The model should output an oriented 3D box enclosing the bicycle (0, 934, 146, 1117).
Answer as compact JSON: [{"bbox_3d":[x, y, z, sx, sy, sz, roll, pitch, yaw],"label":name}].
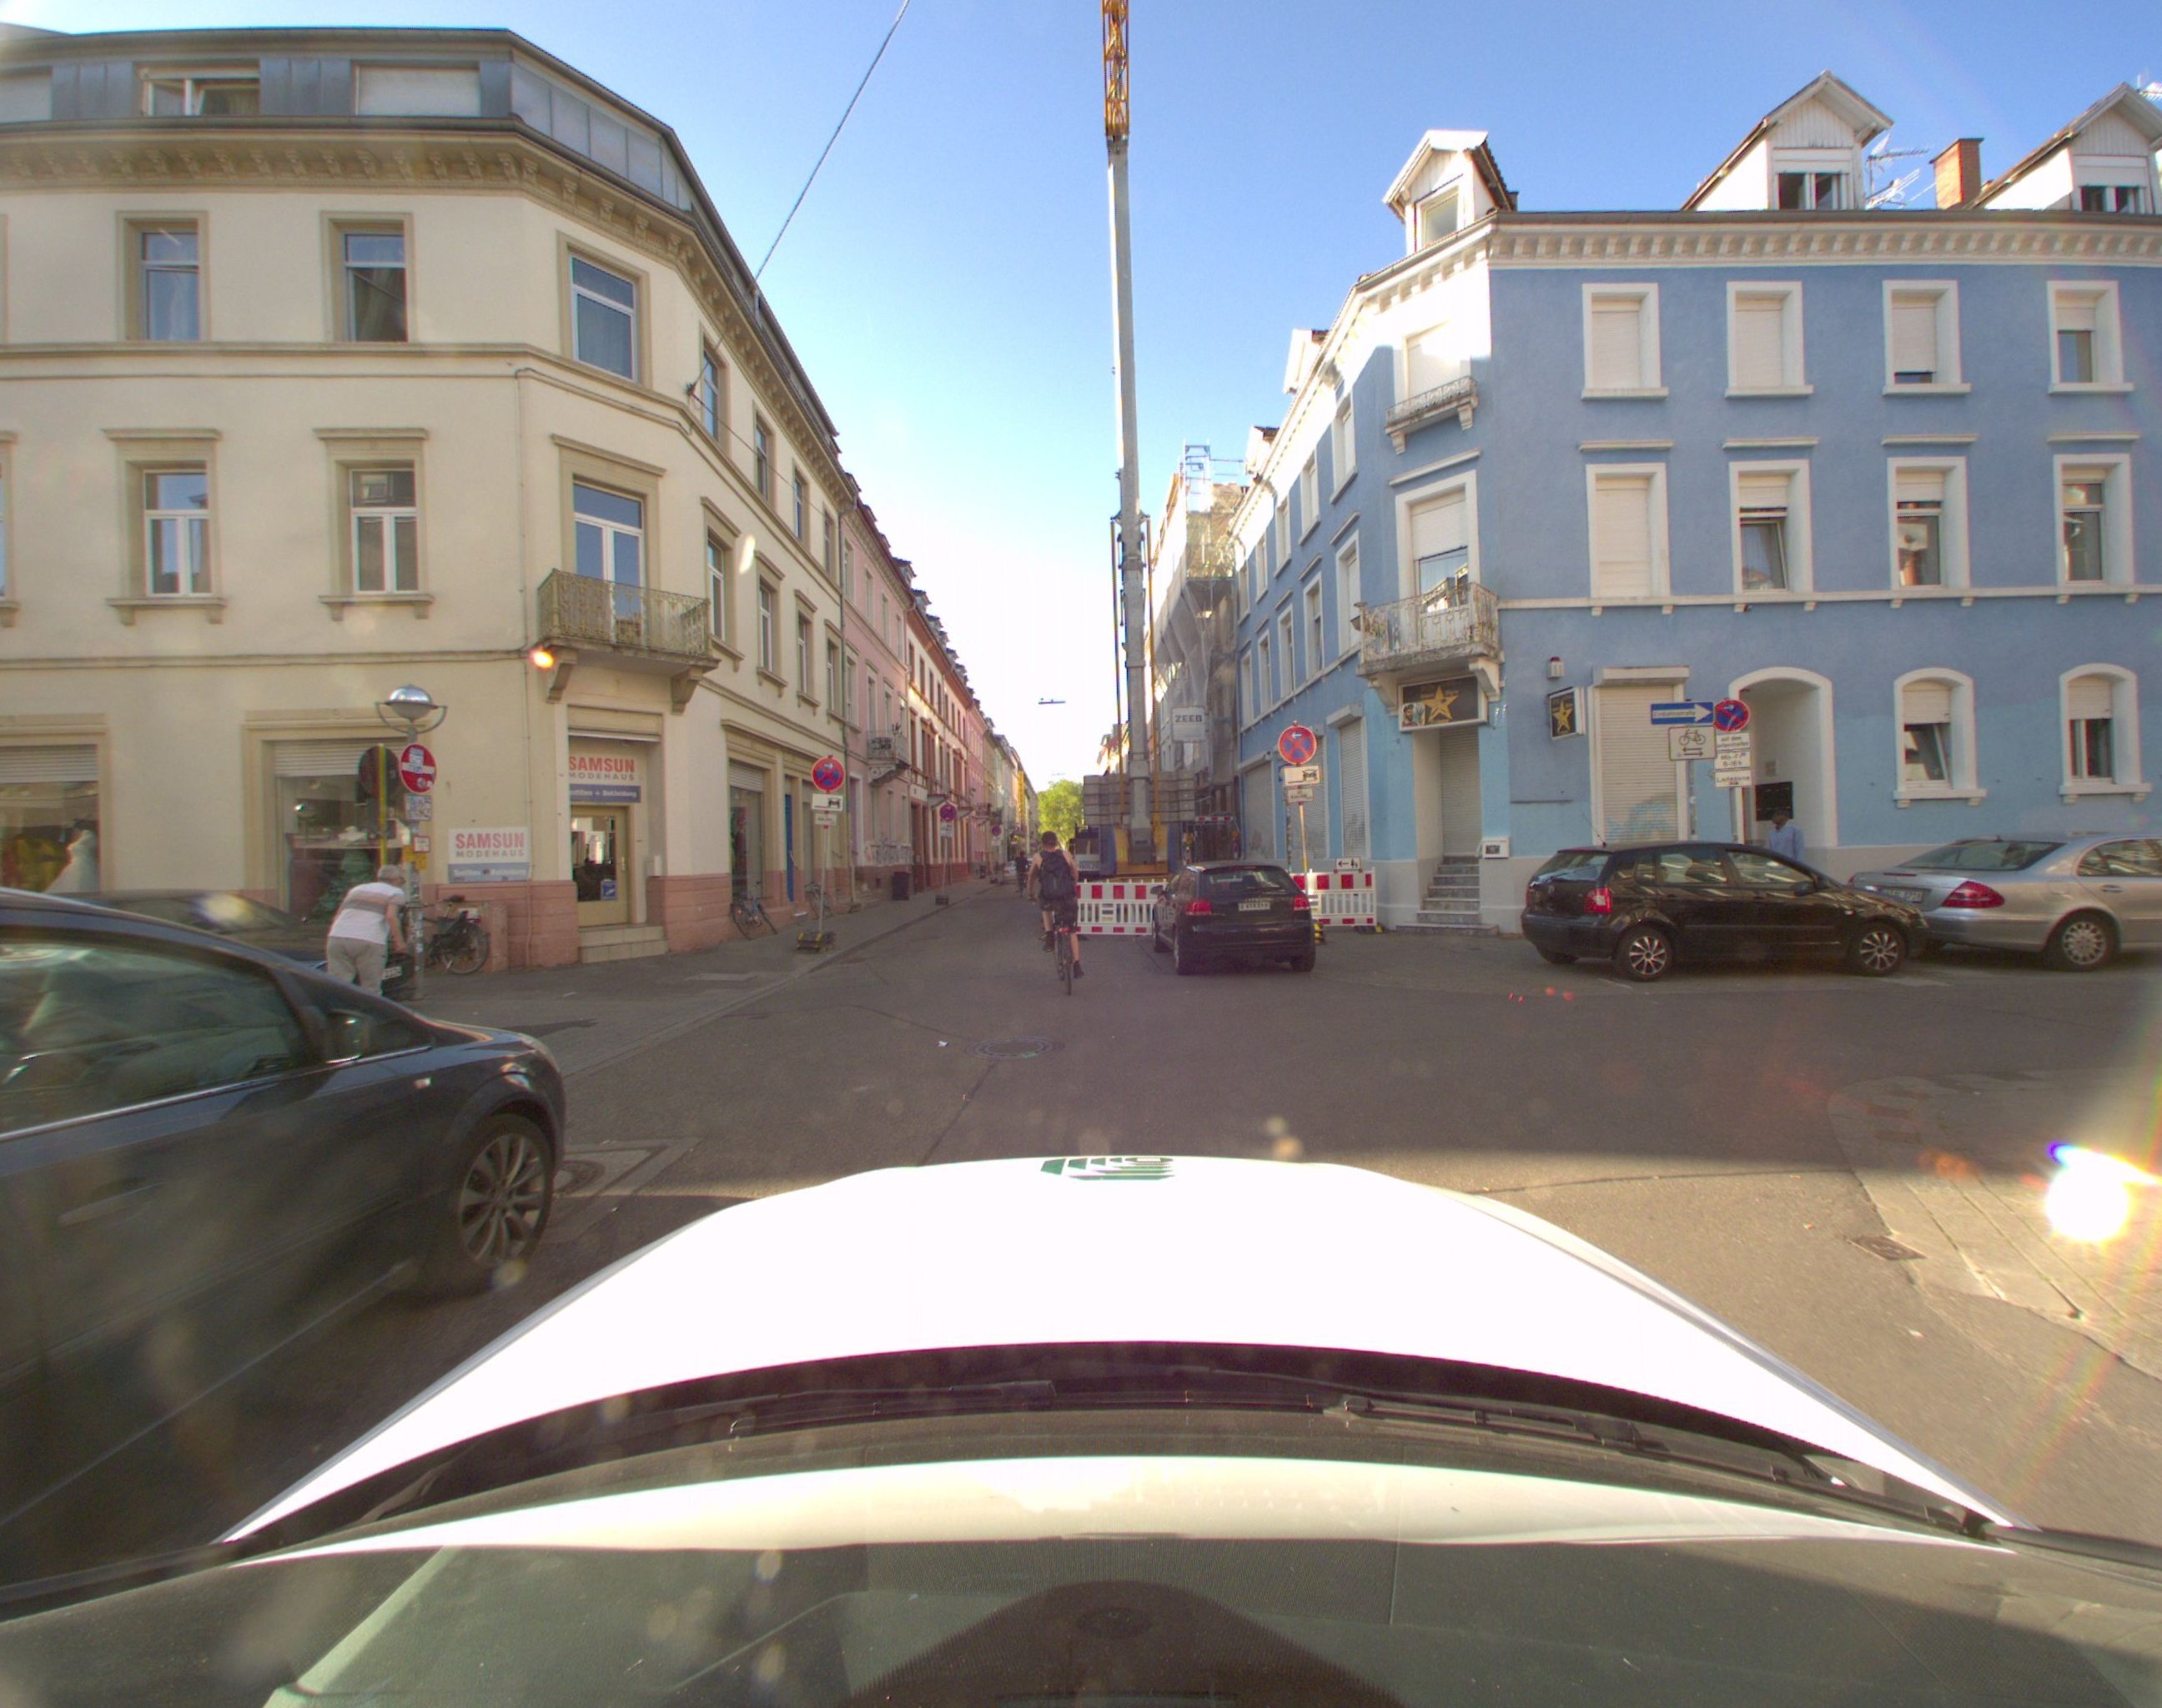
[{"bbox_3d":[-7.780,1.178,5.405,1.935,1.111,0.705,-2,0,-21],"label":"bicycle"}]

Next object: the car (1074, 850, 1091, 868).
[{"bbox_3d":[0.193,0.770,126.872,2.301,2.538,6.765,-4,-1,-1],"label":"car"}]

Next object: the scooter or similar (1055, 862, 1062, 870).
[{"bbox_3d":[-2.647,1.414,95.245,0.769,0.873,0.770,-1,-1,-3],"label":"scooter or similar"}]

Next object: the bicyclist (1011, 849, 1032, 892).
[{"bbox_3d":[-2.307,0.643,31.675,0.700,1.605,0.812,-3,1,-2],"label":"bicyclist"}]

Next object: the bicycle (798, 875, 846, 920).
[{"bbox_3d":[-6.435,1.056,20.324,0.620,1.022,1.817,-1,0,-1],"label":"bicycle"}]

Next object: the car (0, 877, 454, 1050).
[{"bbox_3d":[-9.245,1.044,8.344,4.131,1.455,1.757,-1,0,-4],"label":"car"}]

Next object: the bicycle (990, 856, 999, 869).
[{"bbox_3d":[-7.377,0.736,69.654,0.591,1.089,2.078,-1,-1,-1],"label":"bicycle"}]

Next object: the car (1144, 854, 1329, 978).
[{"bbox_3d":[2.004,0.739,11.698,1.767,1.434,4.031,-1,0,-2],"label":"car"}]

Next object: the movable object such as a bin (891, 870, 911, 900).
[{"bbox_3d":[-6.407,1.103,29.014,0.604,1.035,0.596,-1,-1,-3],"label":"movable object such as a bin"}]

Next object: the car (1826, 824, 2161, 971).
[{"bbox_3d":[11.495,0.410,9.270,4.455,1.434,1.757,-1,1,0],"label":"car"}]

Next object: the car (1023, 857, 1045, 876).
[{"bbox_3d":[-3.907,1.034,68.197,1.667,1.441,4.163,-4,-1,-1],"label":"car"}]

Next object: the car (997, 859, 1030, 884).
[{"bbox_3d":[-4.177,1.067,50.745,1.706,1.383,4.503,-4,-1,-1],"label":"car"}]

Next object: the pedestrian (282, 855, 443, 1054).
[{"bbox_3d":[-6.648,0.886,7.582,0.691,1.701,0.865,3,1,-1],"label":"pedestrian"}]

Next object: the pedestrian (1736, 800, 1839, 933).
[{"bbox_3d":[10.205,0.180,11.792,0.767,1.849,0.779,-1,-1,-2],"label":"pedestrian"}]

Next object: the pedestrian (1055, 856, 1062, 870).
[{"bbox_3d":[-2.673,1.079,95.669,0.769,1.578,0.899,-1,-1,-3],"label":"pedestrian"}]

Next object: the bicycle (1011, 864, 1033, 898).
[{"bbox_3d":[-2.267,1.024,31.666,0.700,1.208,2.341,-3,1,-2],"label":"bicycle"}]

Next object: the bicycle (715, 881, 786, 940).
[{"bbox_3d":[-6.333,1.057,15.723,0.601,1.022,1.817,2,-1,-1],"label":"bicycle"}]

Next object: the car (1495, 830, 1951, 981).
[{"bbox_3d":[7.017,0.518,9.176,3.856,1.453,1.676,-1,0,-2],"label":"car"}]

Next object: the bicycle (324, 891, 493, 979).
[{"bbox_3d":[-9.313,1.113,11.309,1.912,1.149,0.613,-1,-1,4],"label":"bicycle"}]

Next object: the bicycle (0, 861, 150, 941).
[{"bbox_3d":[-14.875,0.682,11.911,1.912,1.122,0.613,-1,-1,4],"label":"bicycle"}]

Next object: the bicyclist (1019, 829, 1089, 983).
[{"bbox_3d":[-0.297,0.559,9.291,0.700,1.633,1.089,-2,-1,-1],"label":"bicyclist"}]

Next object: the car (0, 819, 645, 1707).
[{"bbox_3d":[-2.823,0.784,1.652,1.718,1.605,4.162,-3,0,-3],"label":"car"}]

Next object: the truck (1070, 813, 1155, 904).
[{"bbox_3d":[0.955,0.173,29.348,2.653,2.814,7.390,-1,-1,-1],"label":"truck"}]

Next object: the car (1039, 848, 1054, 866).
[{"bbox_3d":[-4.948,0.429,115.543,1.905,2.496,4.160,-3,0,-3],"label":"car"}]

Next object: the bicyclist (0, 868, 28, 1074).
[{"bbox_3d":[-7.853,0.822,5.395,0.790,1.436,0.705,-2,0,-21],"label":"bicyclist"}]

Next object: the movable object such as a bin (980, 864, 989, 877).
[{"bbox_3d":[-6.720,1.150,56.492,0.542,0.945,0.487,-1,-1,-1],"label":"movable object such as a bin"}]

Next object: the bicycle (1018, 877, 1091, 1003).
[{"bbox_3d":[-0.284,0.903,9.439,0.700,1.208,2.341,-2,-1,-1],"label":"bicycle"}]
